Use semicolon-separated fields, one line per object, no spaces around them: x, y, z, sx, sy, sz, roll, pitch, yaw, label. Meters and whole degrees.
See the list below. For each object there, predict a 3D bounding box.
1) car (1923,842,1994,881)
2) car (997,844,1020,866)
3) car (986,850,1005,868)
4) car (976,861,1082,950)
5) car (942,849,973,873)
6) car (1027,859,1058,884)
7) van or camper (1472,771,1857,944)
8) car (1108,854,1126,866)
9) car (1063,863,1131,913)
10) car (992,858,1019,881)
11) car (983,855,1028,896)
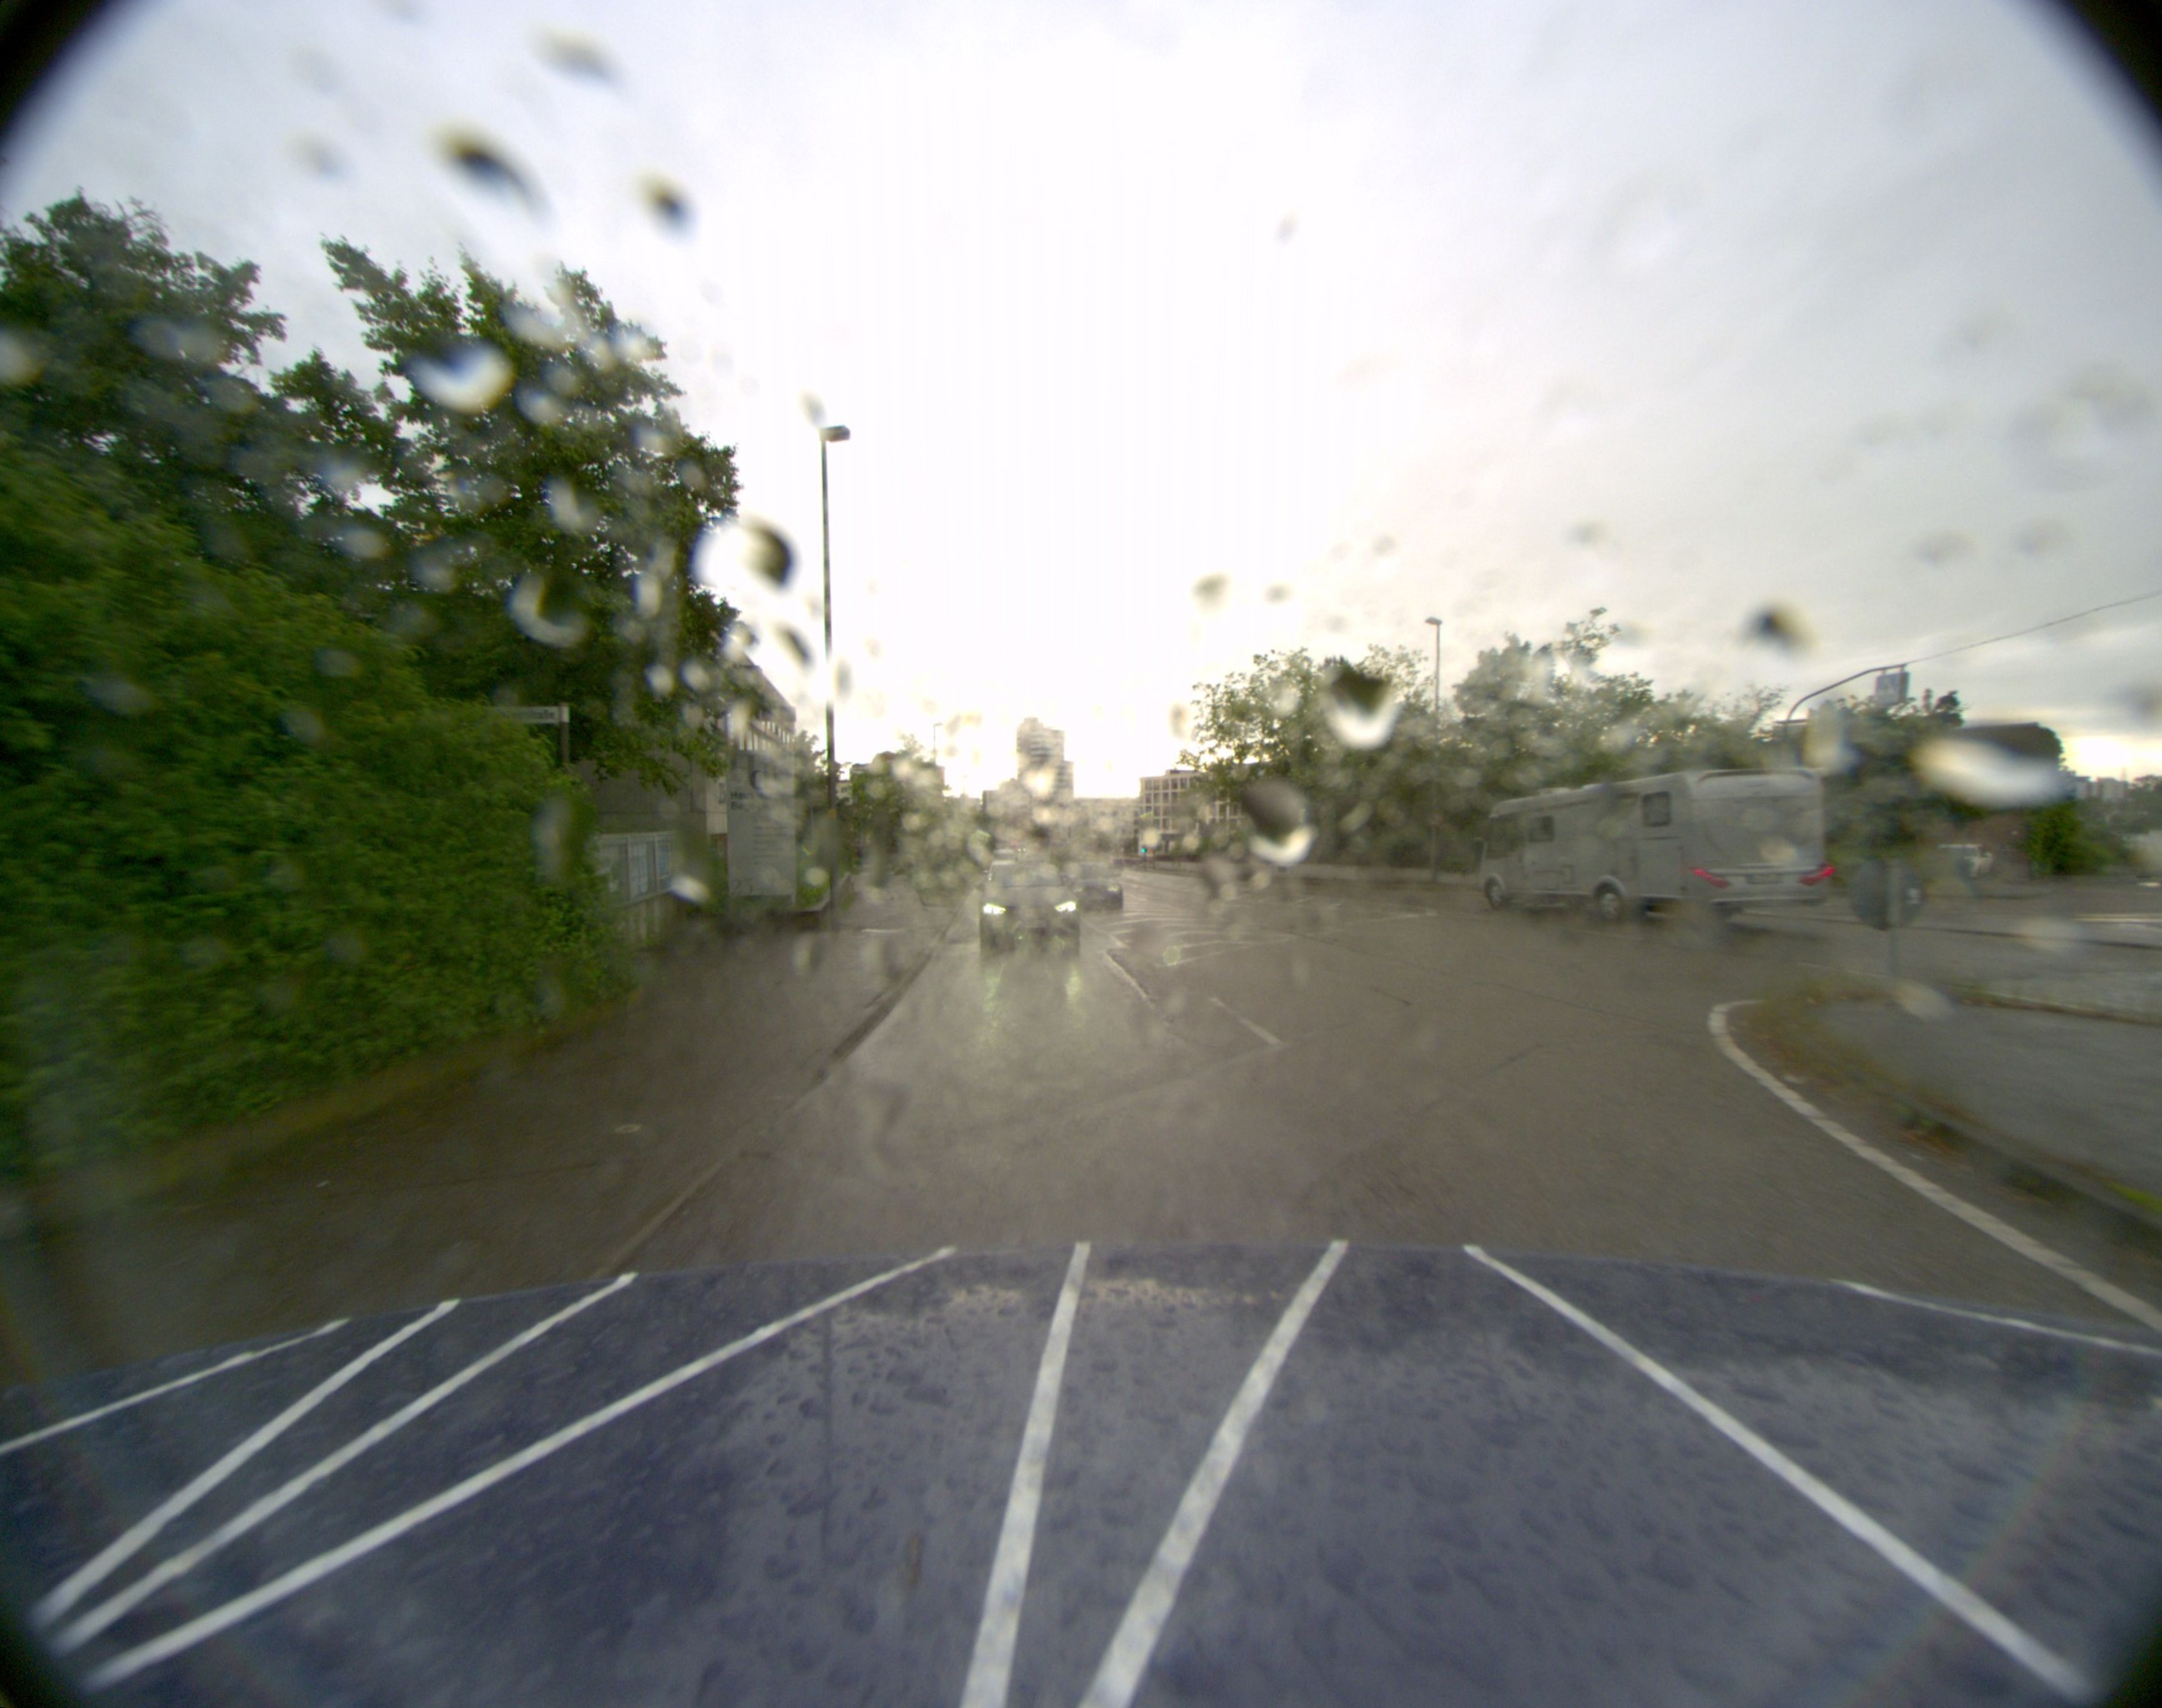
39.766;0.321;34.419;4.301;1.598;1.697;-2;1;-36;car
-6.676;0.132;69.523;2.031;1.925;4.942;-1;-1;-7;car
-9.542;0.573;84.728;2.031;1.925;4.942;-1;-1;-7;car
-1.107;0.939;15.983;1.839;1.505;4.846;-2;0;-4;car
-9.803;0.515;60.587;2.049;1.809;3.966;-2;1;-4;car
-2.548;1.118;49.708;1.901;1.487;4.943;-1;-1;-3;car
10.871;0.019;15.315;2.373;2.641;7.019;-1;1;0;van or camper
4.555;0.761;97.282;1.819;1.506;3.998;0;0;-4;car
0.394;0.985;23.683;1.790;1.339;4.943;-1;0;-2;car
-5.688;1.165;57.778;1.901;1.713;4.462;-1;-1;-5;car
-3.843;1.011;38.007;1.902;1.650;4.940;-4;2;-8;car
